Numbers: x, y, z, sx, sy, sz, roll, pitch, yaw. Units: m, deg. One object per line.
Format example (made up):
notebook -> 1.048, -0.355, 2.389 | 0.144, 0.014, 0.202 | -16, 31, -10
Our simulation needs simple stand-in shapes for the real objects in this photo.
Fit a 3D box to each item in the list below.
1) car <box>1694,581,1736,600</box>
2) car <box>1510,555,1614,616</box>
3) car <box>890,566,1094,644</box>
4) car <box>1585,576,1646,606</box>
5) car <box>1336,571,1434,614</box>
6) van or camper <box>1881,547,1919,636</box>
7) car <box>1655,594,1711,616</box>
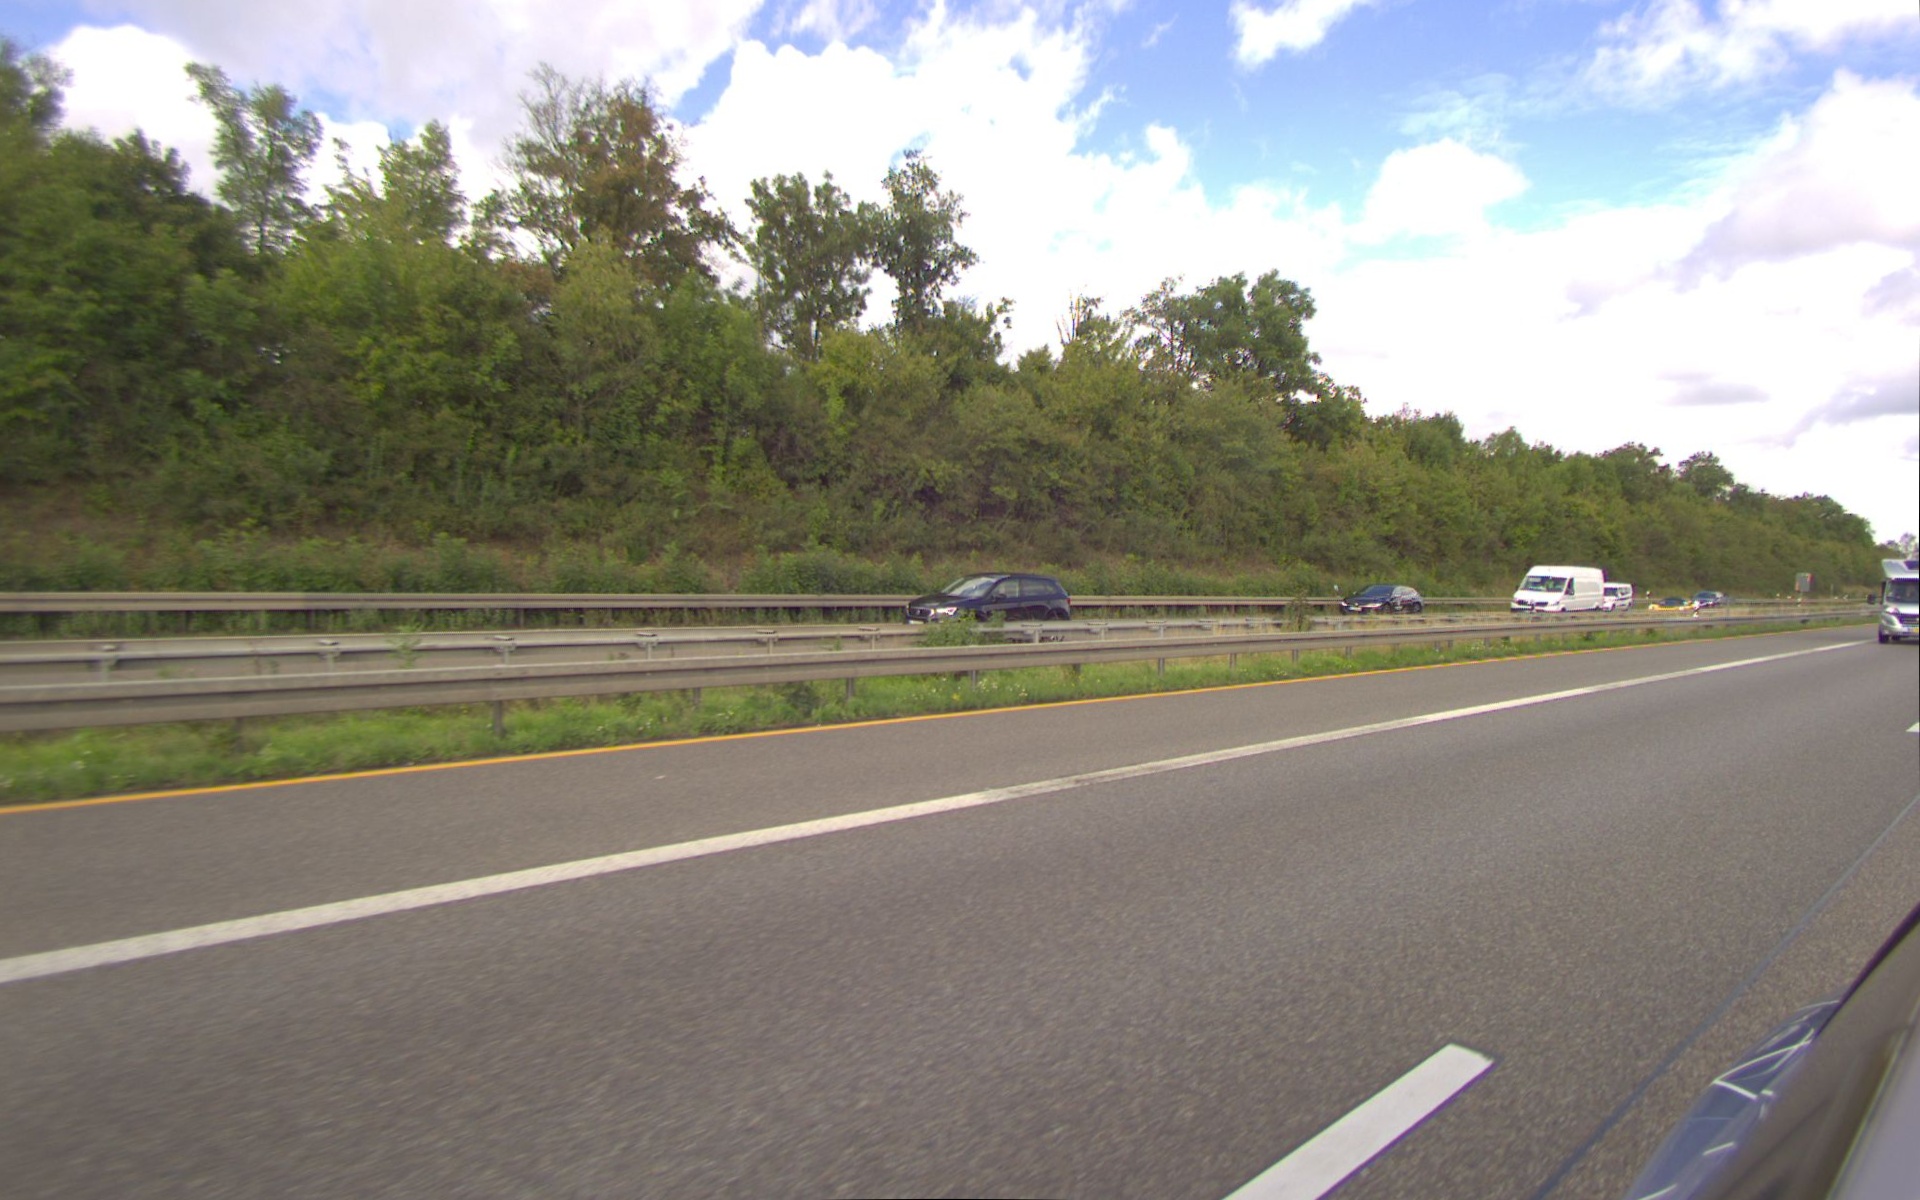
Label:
car -> 57.826, -0.717, 77.516 | 4.095, 1.433, 1.715 | 0, 2, -41
car -> 27.284, -0.642, 45.742 | 6.625, 2.586, 2.074 | 0, 2, -41
car -> 0.788, 0.080, 22.661 | 4.446, 1.502, 1.847 | 0, 3, -41
car -> 39.776, -0.543, 61.357 | 4.680, 1.774, 1.847 | 0, 1, -41
car -> 17.707, -0.320, 42.069 | 4.682, 1.622, 1.847 | 0, 3, -42
van or camper -> 32.773, -0.266, 33.559 | 7.528, 2.756, 2.473 | 0, 0, -41
car -> 41.200, 0.264, 57.671 | 4.096, 1.196, 1.715 | 0, 1, -41
